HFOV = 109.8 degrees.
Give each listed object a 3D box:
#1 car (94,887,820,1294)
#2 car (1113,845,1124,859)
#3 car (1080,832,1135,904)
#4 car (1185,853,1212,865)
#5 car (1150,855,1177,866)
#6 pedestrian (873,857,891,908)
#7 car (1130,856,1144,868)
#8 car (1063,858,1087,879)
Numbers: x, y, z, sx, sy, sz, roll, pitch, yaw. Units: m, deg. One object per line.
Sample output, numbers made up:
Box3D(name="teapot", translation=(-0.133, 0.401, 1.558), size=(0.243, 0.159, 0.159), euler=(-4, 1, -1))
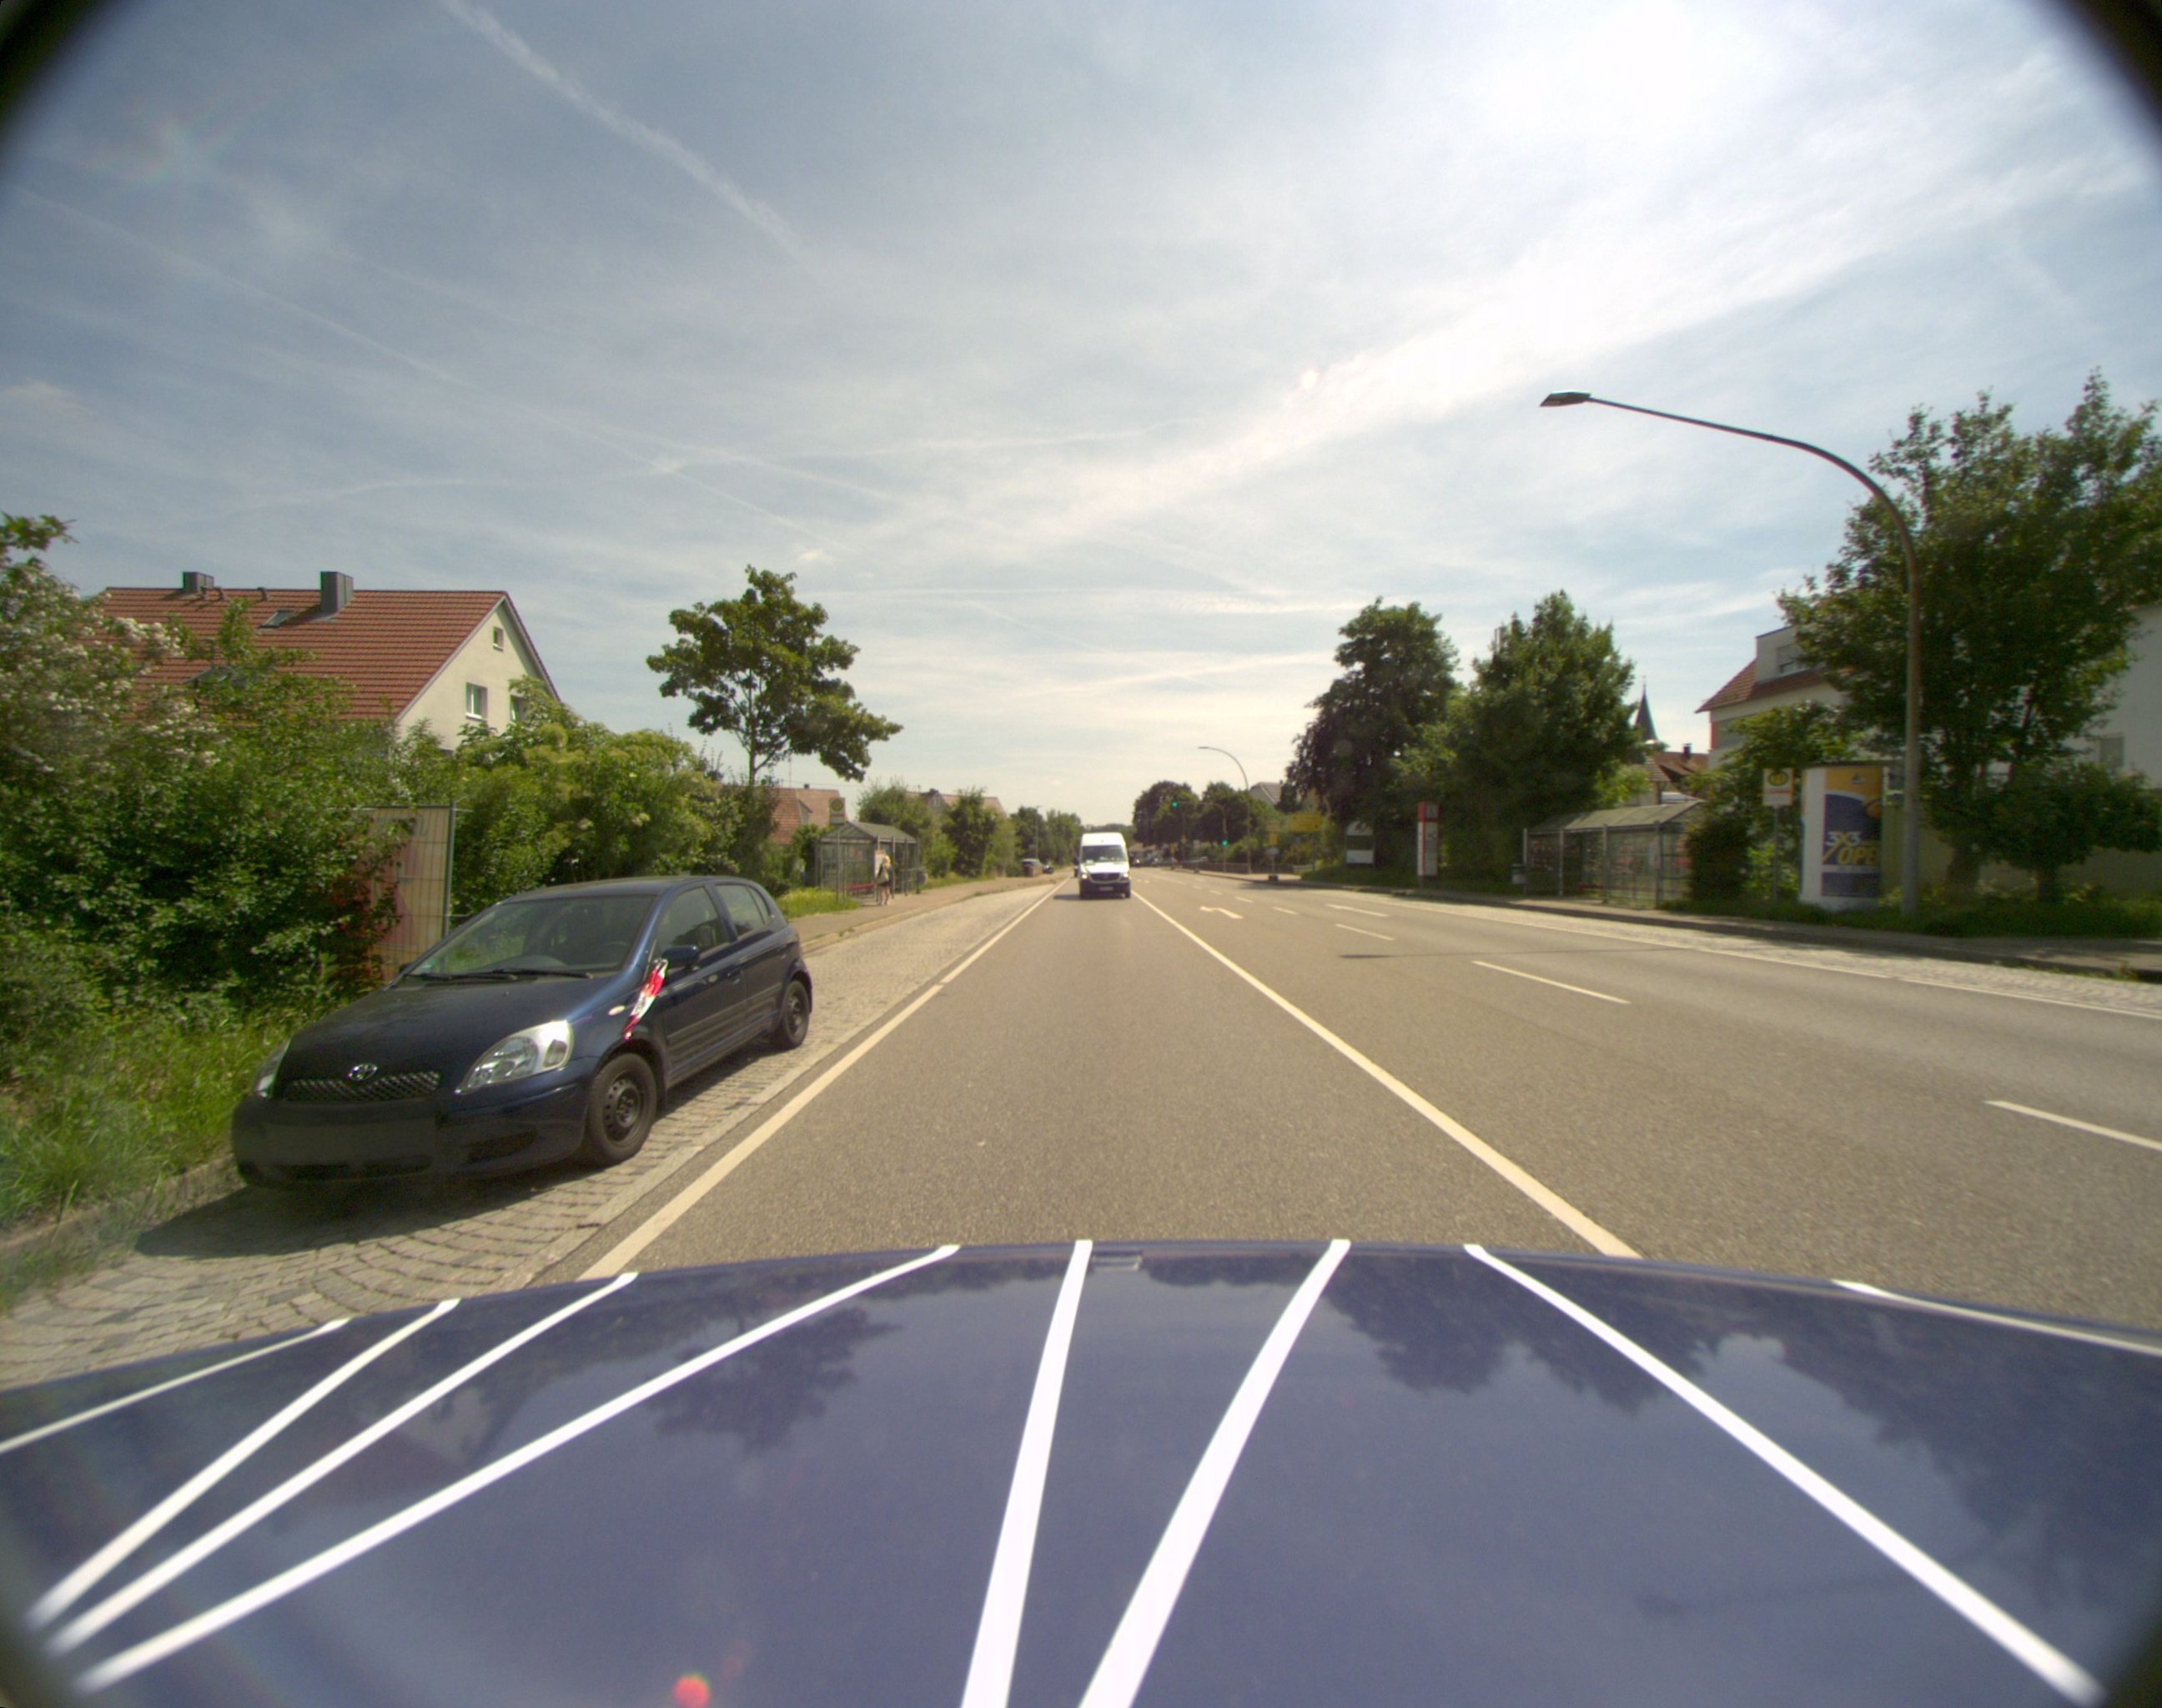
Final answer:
Box3D(name="car", translation=(-3.209, 1.065, 4.931), size=(1.635, 1.476, 3.553), euler=(-3, 0, 2))
Box3D(name="car", translation=(9.551, -0.586, 193.615), size=(2.535, 3.431, 5.916), euler=(-2, 1, 1))
Box3D(name="car", translation=(1.035, 0.507, 29.963), size=(1.939, 2.514, 5.749), euler=(-1, 0, 2))
Box3D(name="car", translation=(19.336, 0.772, 125.216), size=(3.998, 1.760, 1.999), euler=(-2, 1, -2))
Box3D(name="car", translation=(13.565, 1.059, 124.924), size=(3.998, 1.744, 1.999), euler=(-2, 1, -4))
Box3D(name="pedestrian", translation=(-6.233, 0.878, 23.793), size=(0.522, 1.540, 0.562), euler=(-1, 1, -17))
Box3D(name="car", translation=(9.207, 1.260, 124.857), size=(1.998, 1.729, 3.999), euler=(-2, 1, 1))
Box3D(name="car", translation=(-0.480, 1.237, 66.893), size=(1.884, 1.652, 4.626), euler=(-2, 0, 2))
